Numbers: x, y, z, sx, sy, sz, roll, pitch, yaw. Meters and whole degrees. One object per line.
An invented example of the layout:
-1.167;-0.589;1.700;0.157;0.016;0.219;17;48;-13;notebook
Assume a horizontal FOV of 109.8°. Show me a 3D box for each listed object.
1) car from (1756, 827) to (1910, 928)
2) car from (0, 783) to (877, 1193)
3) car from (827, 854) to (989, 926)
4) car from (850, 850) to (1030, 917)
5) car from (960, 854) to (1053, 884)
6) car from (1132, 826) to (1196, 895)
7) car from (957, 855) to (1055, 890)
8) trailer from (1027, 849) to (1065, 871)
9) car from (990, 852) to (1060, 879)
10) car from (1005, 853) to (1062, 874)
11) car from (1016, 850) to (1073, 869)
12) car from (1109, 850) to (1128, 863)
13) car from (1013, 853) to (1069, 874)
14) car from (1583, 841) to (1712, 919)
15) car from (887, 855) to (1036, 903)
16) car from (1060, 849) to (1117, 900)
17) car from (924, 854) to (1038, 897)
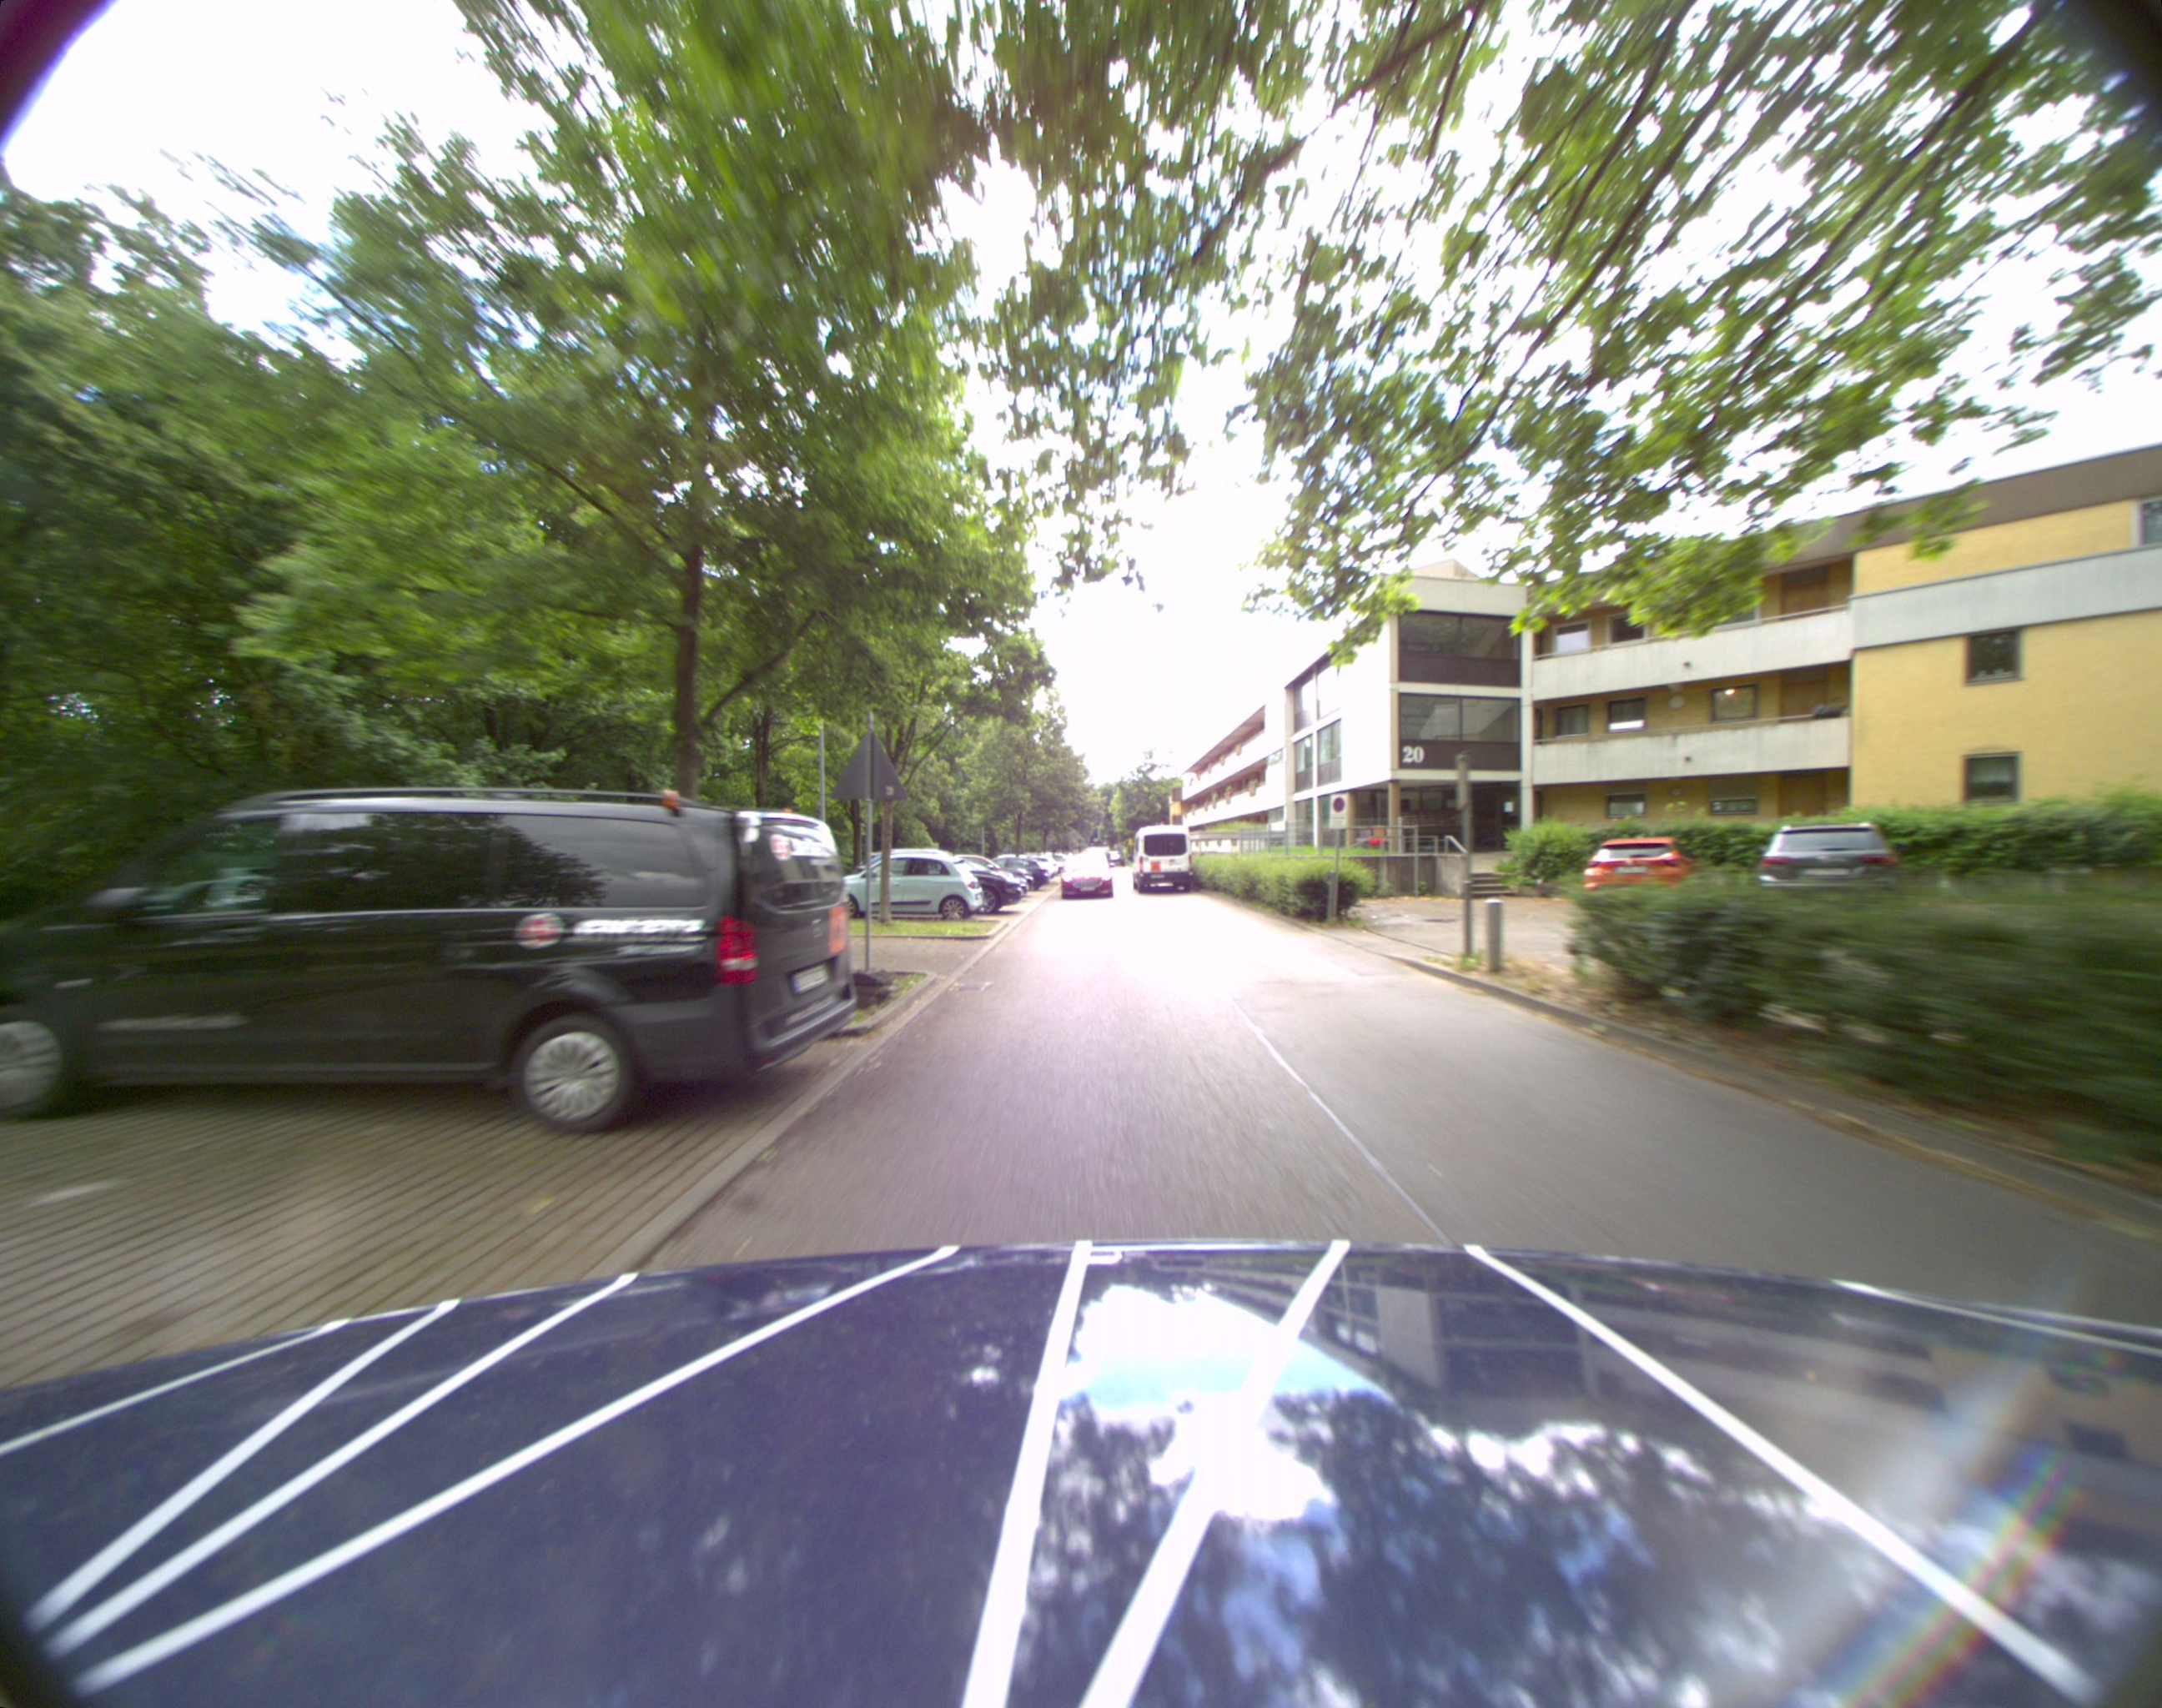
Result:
13.891;0.331;14.123;1.820;1.602;4.008;-1;1;44;car
-4.164;0.660;5.027;4.965;2.002;2.166;1;0;2;car
-4.004;0.813;17.997;3.387;1.565;1.797;1;0;2;car
-3.697;0.759;20.556;4.426;1.666;2.082;1;0;1;car
-3.756;0.762;38.871;4.496;1.446;1.846;1;1;1;car
3.246;0.236;31.112;2.137;2.461;6.278;-2;0;3;car
-3.269;0.802;33.580;4.082;1.448;1.851;1;1;2;car
-2.859;0.480;62.800;3.037;1.780;1.563;1;1;-2;trailer
-3.269;0.637;44.613;3.848;1.507;1.881;1;1;4;car
-3.456;0.690;55.106;4.019;1.414;1.791;1;1;-4;car
-3.228;0.487;67.977;4.828;1.683;1.974;1;1;4;car
4.283;0.255;87.486;1.918;1.403;4.423;-2;0;0;car
-2.989;0.687;57.452;4.124;1.539;1.860;1;1;-2;car
12.418;0.479;16.549;1.744;1.422;4.008;-1;1;44;car
-3.966;0.815;25.734;4.647;1.508;1.983;1;0;3;car
0.315;0.701;28.722;1.918;1.707;5.038;-2;0;1;car
-3.679;0.799;28.572;4.084;1.508;1.850;1;1;-2;car
